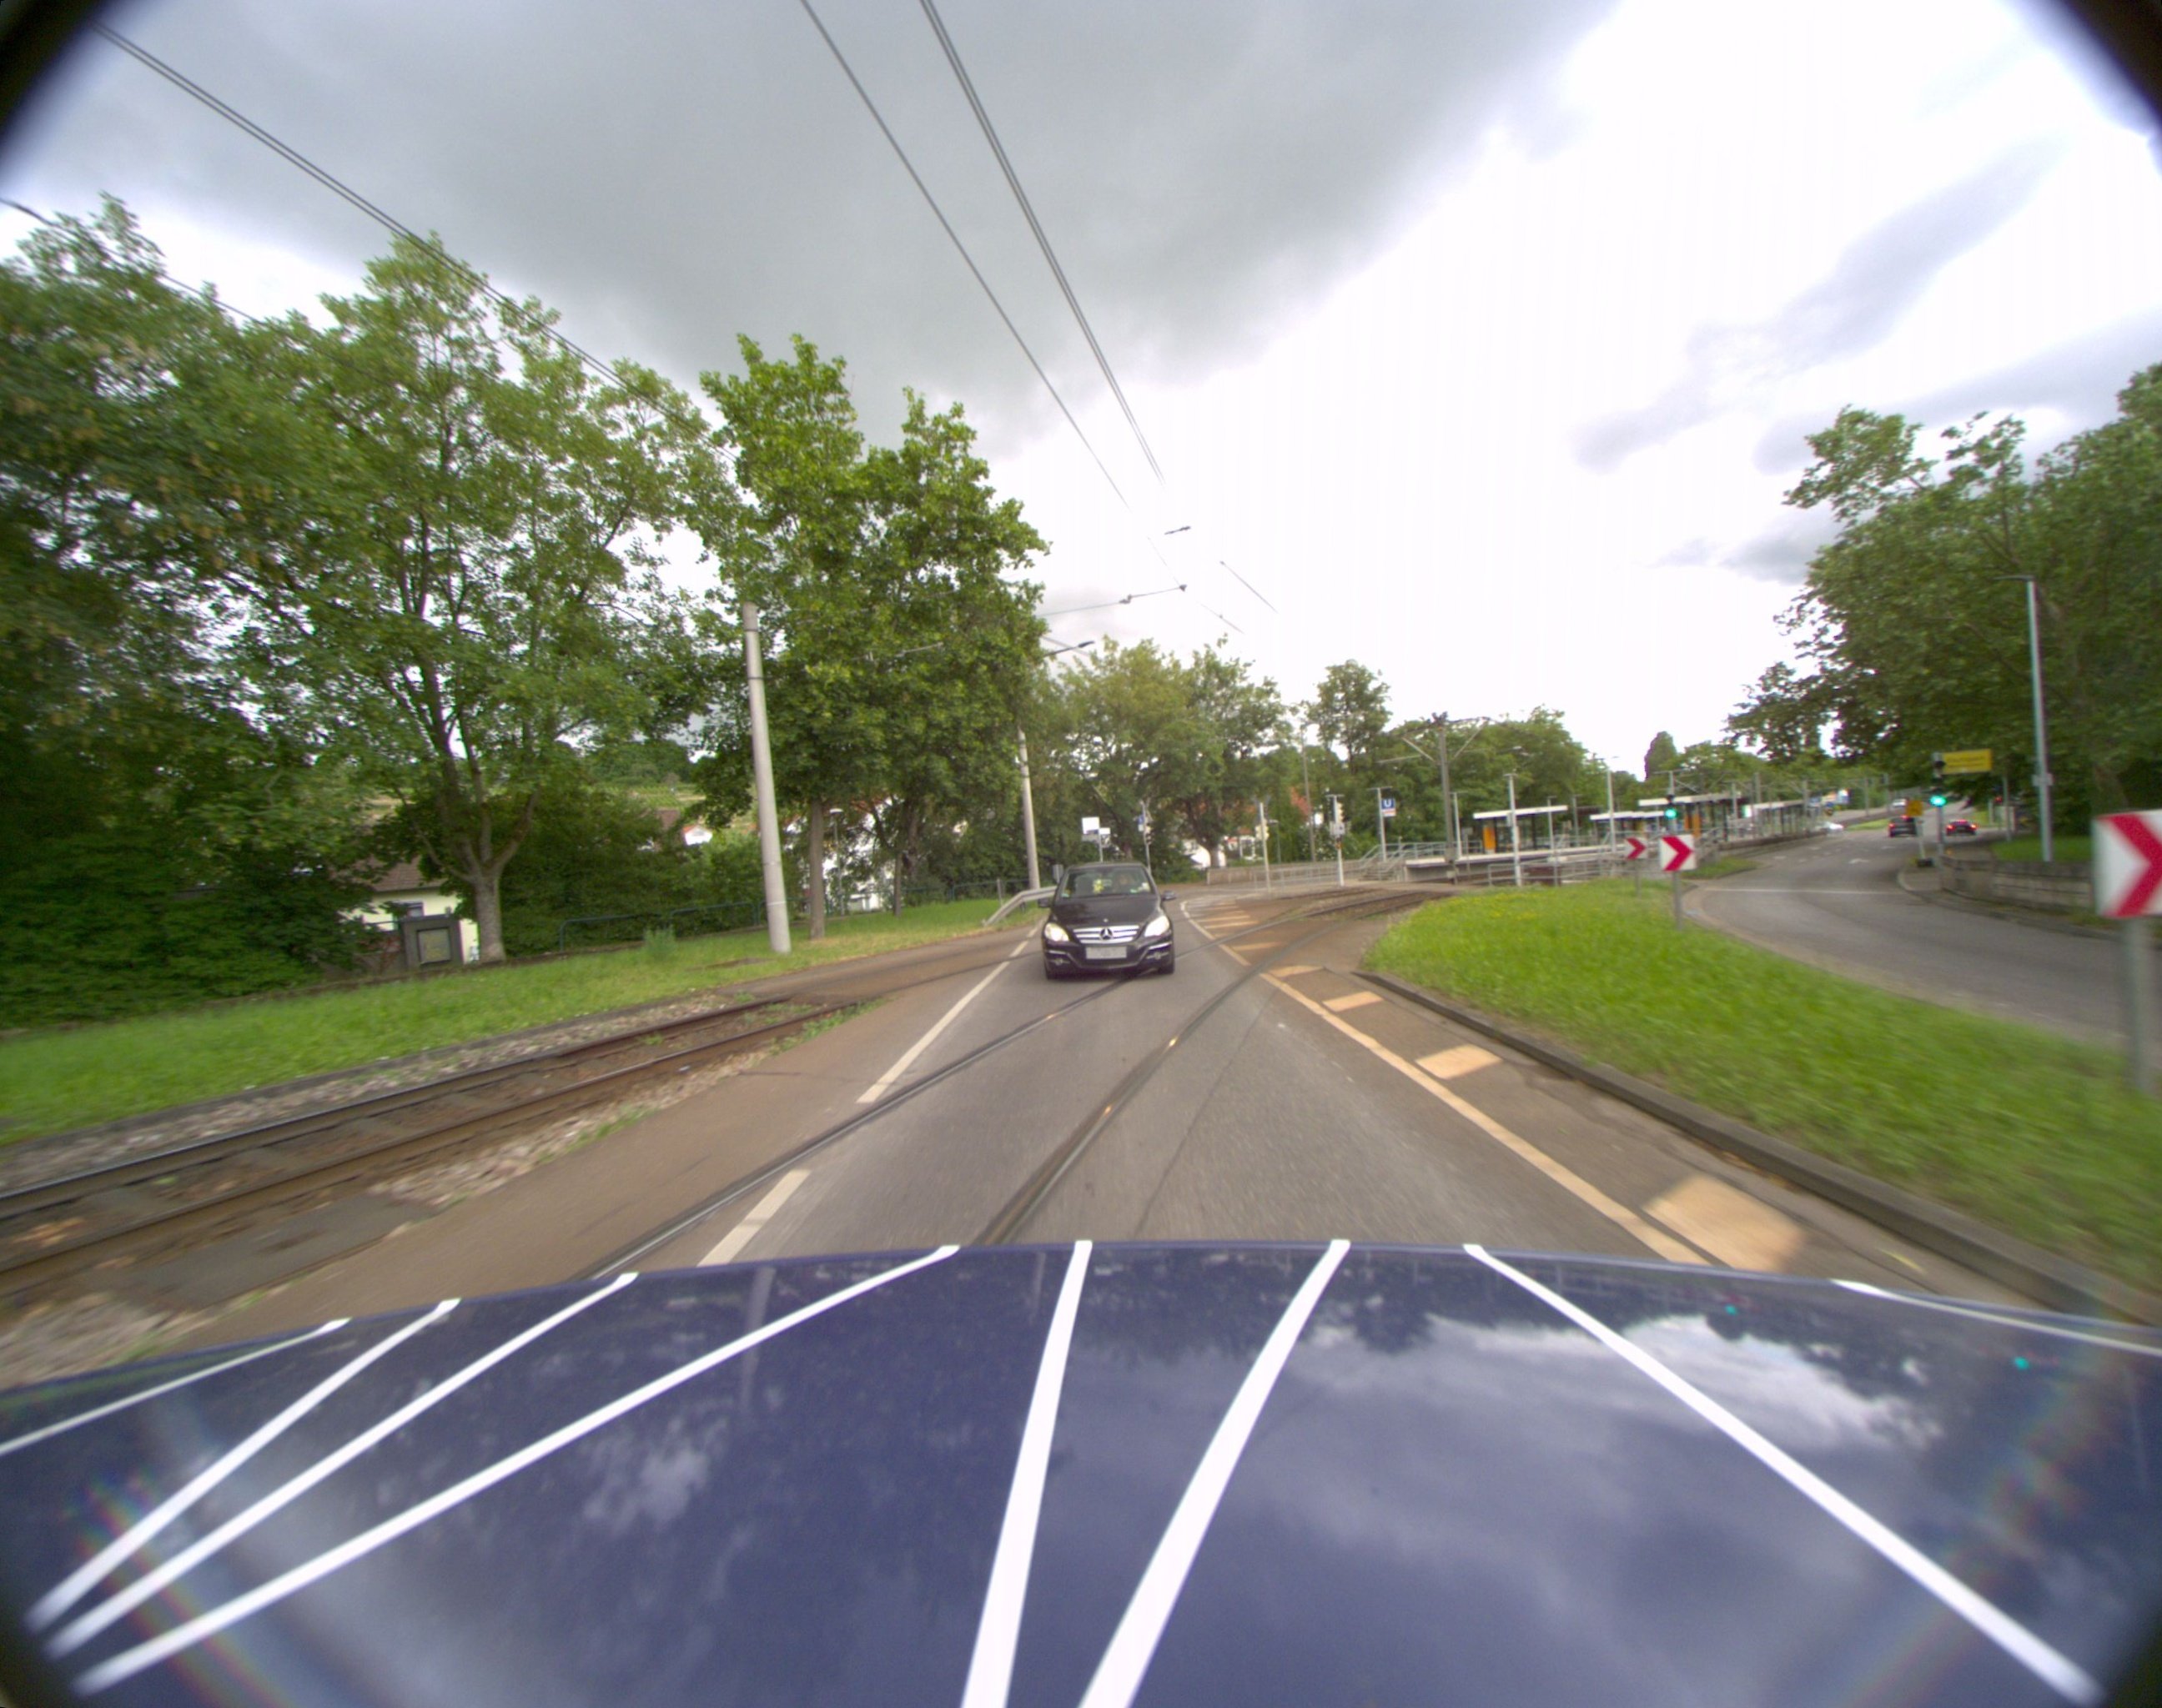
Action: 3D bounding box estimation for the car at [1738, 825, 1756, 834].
[{"bbox_3d":[103.057,-3.834,117.571,3.581,1.277,1.713,-3,0,-42],"label":"car"}]

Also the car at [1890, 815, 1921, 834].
[{"bbox_3d":[79.153,-2.879,72.969,3.800,1.689,1.767,-3,1,-39],"label":"car"}]

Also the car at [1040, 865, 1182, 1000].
[{"bbox_3d":[0.535,1.018,11.737,1.711,1.573,4.444,-3,0,4],"label":"car"}]

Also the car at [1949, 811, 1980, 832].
[{"bbox_3d":[81.100,-3.006,69.765,3.806,1.829,1.738,-3,1,-39],"label":"car"}]
